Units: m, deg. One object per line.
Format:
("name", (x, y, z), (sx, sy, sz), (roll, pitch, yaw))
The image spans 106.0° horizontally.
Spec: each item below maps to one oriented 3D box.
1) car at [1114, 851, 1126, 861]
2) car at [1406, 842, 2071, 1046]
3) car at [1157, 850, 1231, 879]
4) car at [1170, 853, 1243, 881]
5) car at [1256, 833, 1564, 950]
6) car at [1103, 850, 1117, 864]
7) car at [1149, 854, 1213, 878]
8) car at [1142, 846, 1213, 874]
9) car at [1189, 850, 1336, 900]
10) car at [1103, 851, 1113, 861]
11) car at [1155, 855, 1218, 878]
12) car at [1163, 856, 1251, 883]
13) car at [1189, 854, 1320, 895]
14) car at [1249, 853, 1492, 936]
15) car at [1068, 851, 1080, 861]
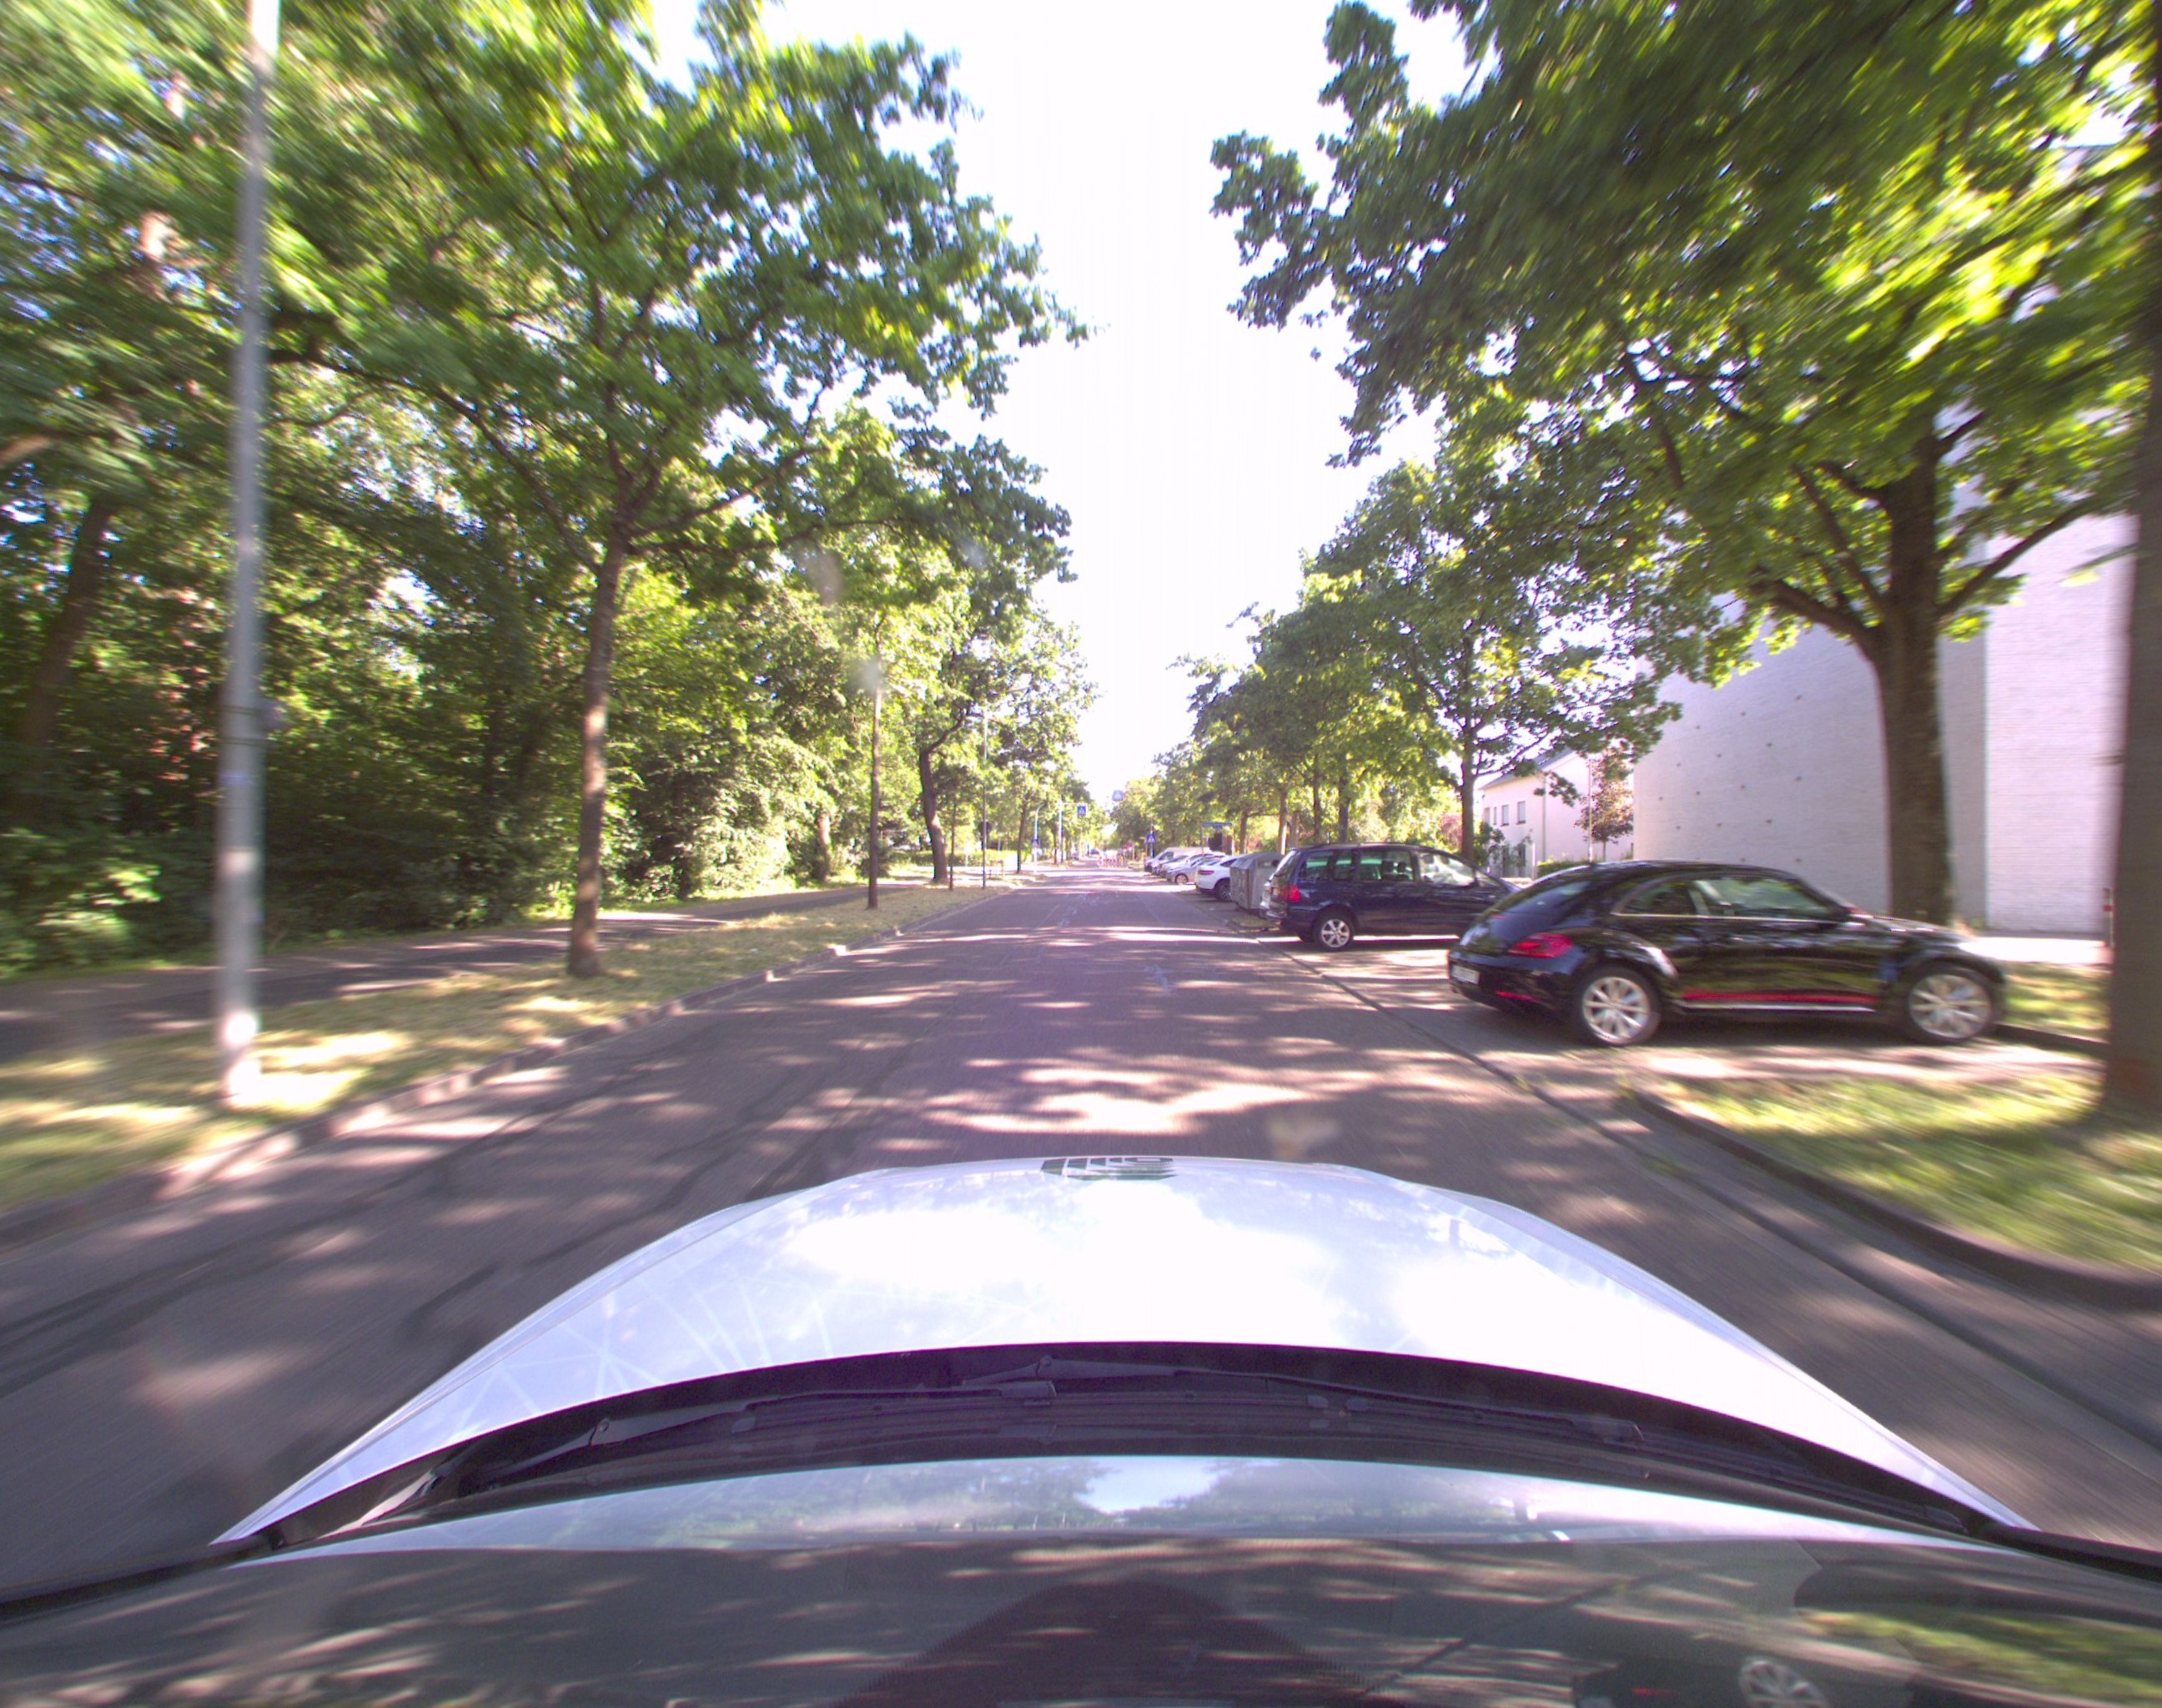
("car", (6.616, 0.348, 138.157), (1.986, 1.716, 4.001), (1, 0, 1))
("car", (5.423, 0.703, 7.291), (4.228, 1.519, 2.080), (-1, 0, 3))
("car", (7.020, 0.634, 51.005), (4.370, 1.651, 1.851), (-1, 0, 0))
("car", (7.109, 0.737, 46.417), (3.871, 1.497, 1.777), (-1, 0, 1))
("car", (5.447, 0.597, 13.958), (4.512, 1.801, 1.937), (-1, 0, 2))
("car", (4.128, 0.411, 116.941), (1.986, 1.933, 4.001), (1, 0, 1))
("car", (6.849, 0.789, 56.247), (4.199, 1.568, 1.933), (1, 0, 0))
("car", (7.220, 0.453, 61.319), (5.170, 2.105, 2.082), (0, 0, 0))
("car", (6.175, 0.698, 28.108), (4.652, 1.580, 1.918), (-1, 0, 2))
("car", (5.638, 0.486, 167.771), (1.986, 1.968, 4.001), (1, 0, 1))
("car", (6.907, 0.820, 53.543), (3.970, 1.433, 1.902), (0, 0, 3))
("car", (6.677, 0.808, 43.401), (4.428, 1.390, 1.912), (-1, 0, 1))
("car", (6.599, 0.770, 31.364), (4.654, 1.455, 1.917), (-1, 0, 1))
("car", (5.590, 0.754, 16.145), (4.203, 1.472, 1.802), (-1, 0, 3))
("car", (-1.259, 0.421, 144.571), (1.986, 1.716, 4.001), (1, 0, 1))
